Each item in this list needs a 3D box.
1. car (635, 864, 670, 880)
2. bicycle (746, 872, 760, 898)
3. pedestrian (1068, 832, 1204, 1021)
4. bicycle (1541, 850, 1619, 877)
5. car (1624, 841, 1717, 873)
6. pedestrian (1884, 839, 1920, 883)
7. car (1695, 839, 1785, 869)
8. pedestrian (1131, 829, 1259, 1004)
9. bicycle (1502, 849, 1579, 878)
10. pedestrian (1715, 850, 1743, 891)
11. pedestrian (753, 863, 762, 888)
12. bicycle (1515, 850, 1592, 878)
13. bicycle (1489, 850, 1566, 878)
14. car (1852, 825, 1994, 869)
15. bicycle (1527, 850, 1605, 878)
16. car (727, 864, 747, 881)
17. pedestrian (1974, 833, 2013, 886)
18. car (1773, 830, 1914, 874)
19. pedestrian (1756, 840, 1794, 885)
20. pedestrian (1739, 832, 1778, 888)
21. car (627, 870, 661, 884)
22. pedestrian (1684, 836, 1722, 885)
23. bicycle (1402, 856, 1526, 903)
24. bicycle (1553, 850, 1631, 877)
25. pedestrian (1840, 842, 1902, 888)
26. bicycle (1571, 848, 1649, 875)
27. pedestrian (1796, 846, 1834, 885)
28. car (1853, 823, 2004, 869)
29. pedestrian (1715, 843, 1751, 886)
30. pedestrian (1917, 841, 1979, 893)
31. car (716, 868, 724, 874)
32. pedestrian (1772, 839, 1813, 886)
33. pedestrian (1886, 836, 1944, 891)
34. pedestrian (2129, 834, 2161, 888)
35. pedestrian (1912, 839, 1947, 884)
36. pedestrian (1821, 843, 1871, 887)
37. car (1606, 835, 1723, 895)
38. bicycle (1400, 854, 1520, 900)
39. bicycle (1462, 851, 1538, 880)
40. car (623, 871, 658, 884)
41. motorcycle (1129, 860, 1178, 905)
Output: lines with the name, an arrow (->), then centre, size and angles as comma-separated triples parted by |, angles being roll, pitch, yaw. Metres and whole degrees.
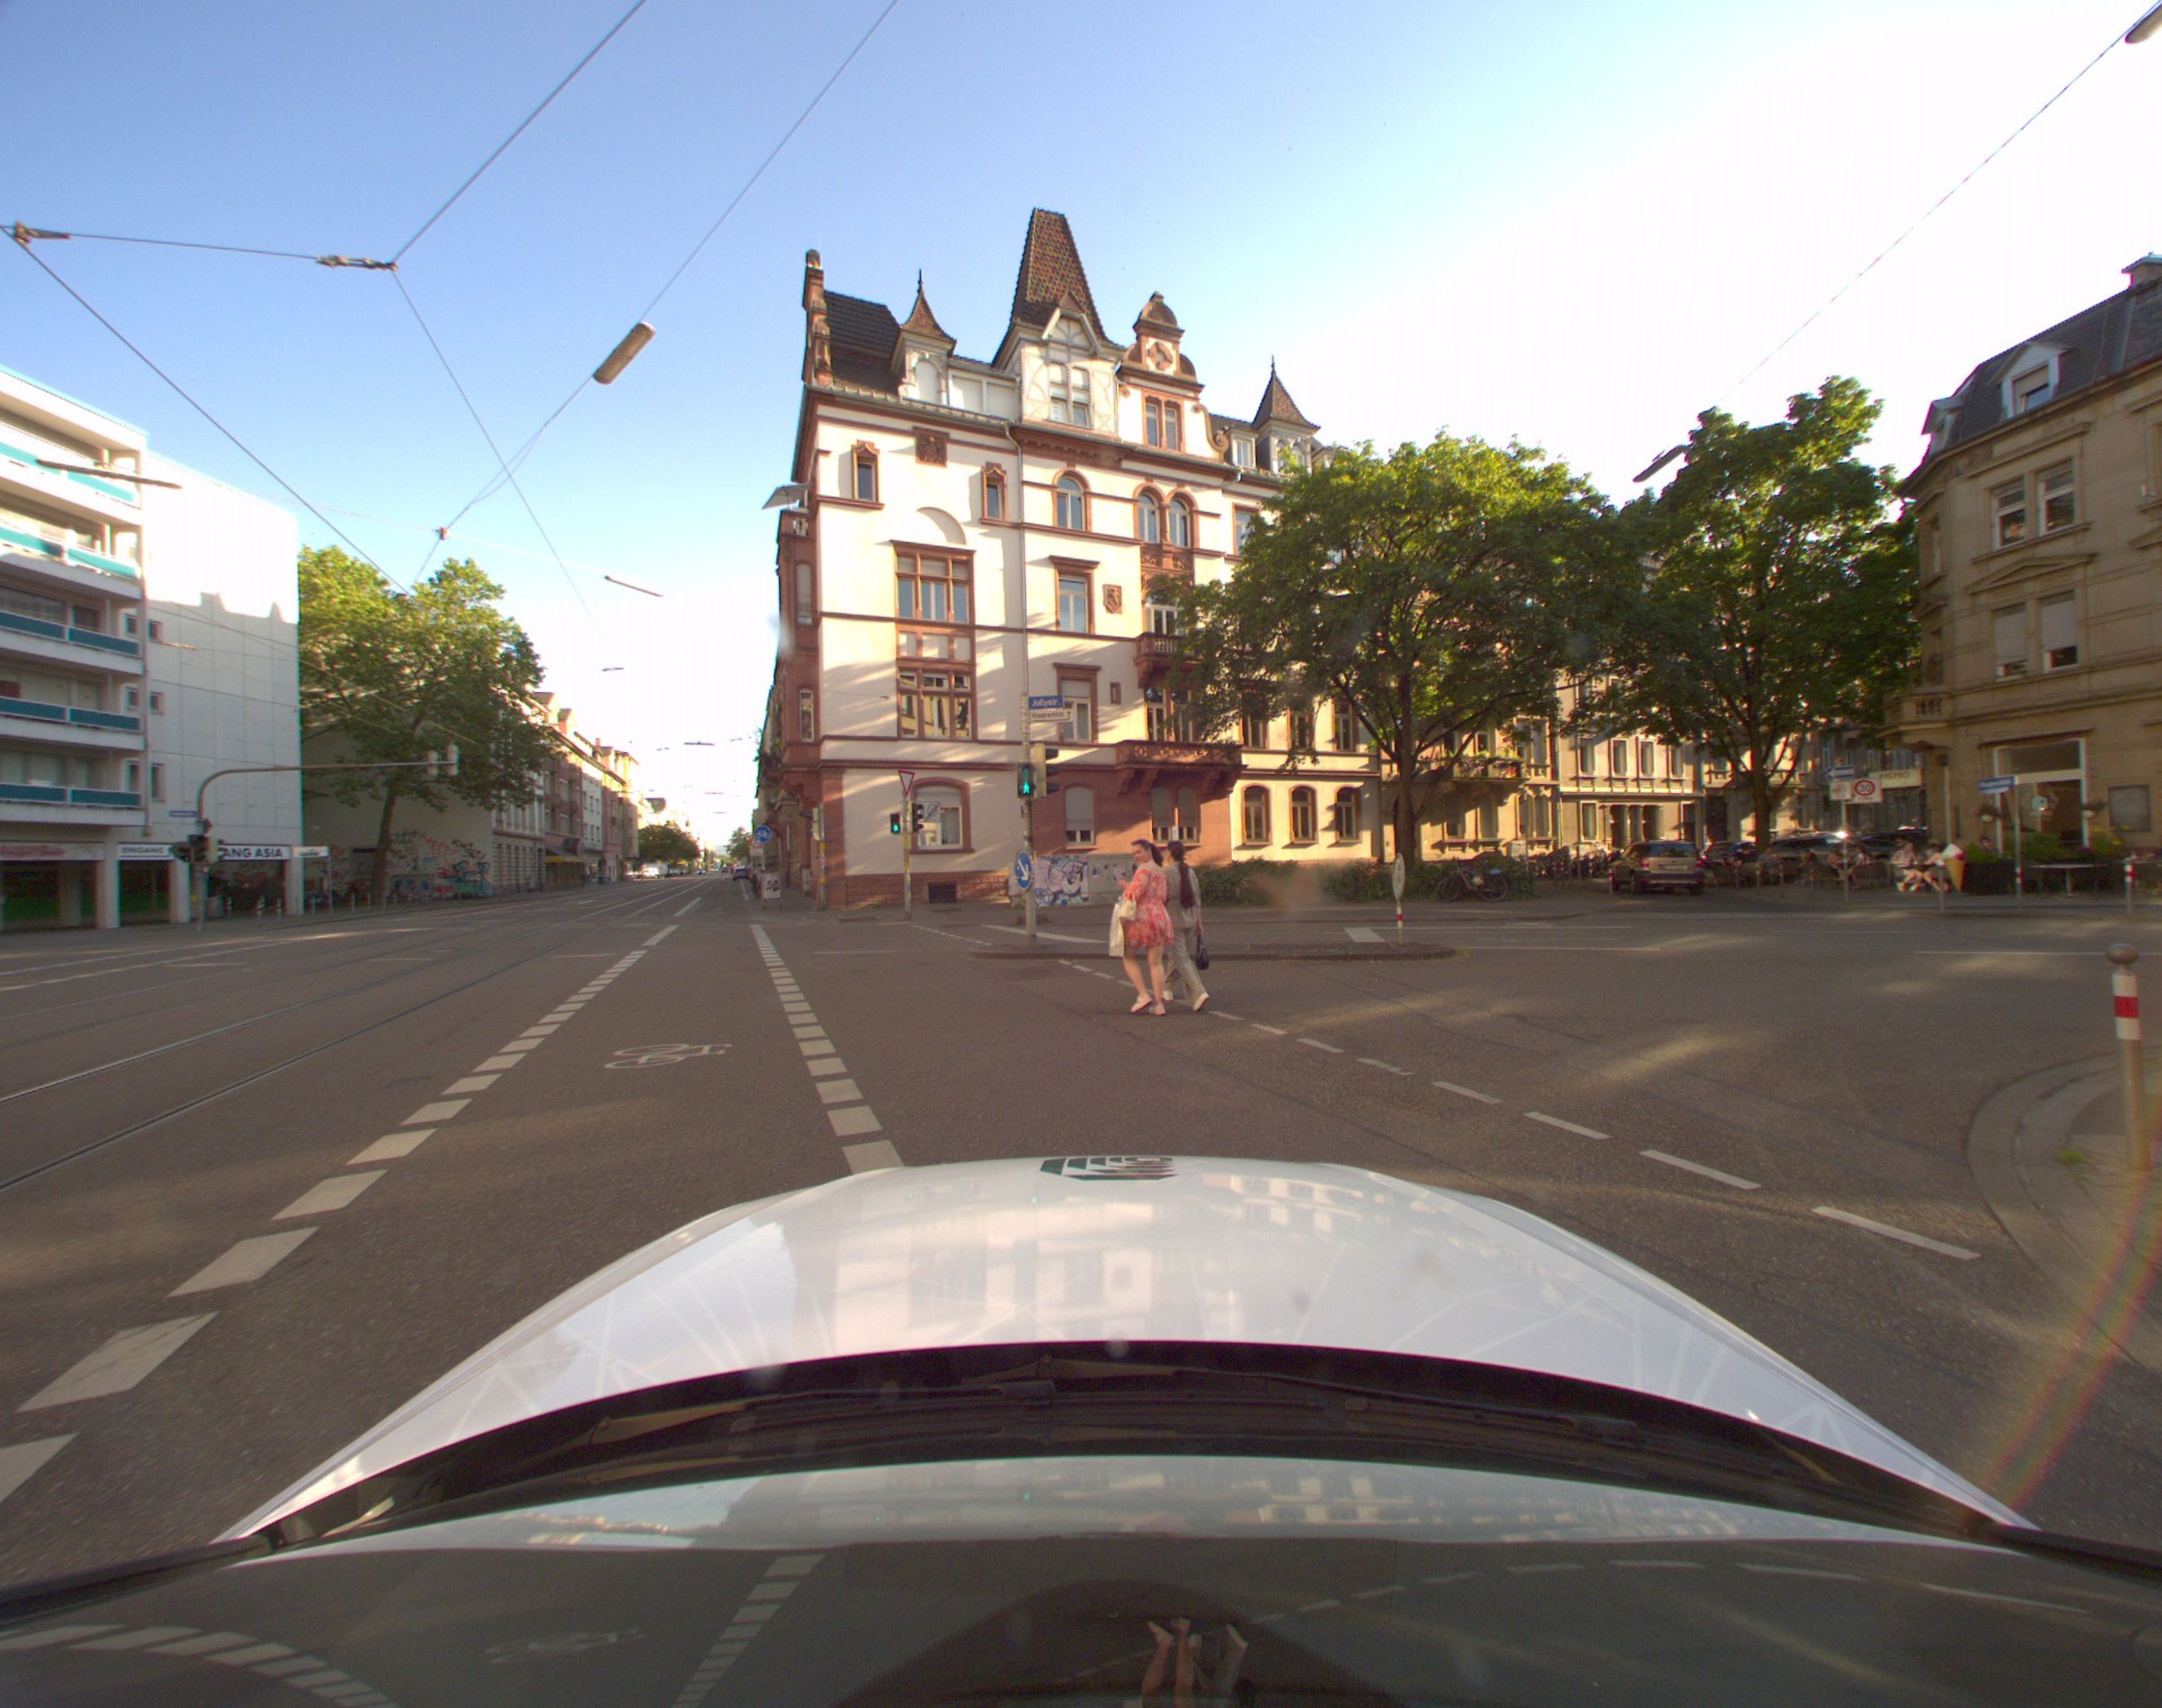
car -> -75.072, 3.188, 142.705 | 2.494, 2.685, 4.786 | -2, -1, 41
bicycle -> -15.729, 1.461, 39.039 | 0.520, 1.214, 1.992 | -1, 0, -24
pedestrian -> 0.526, 0.658, 7.996 | 0.873, 1.697, 0.974 | -1, -1, -33
bicycle -> 22.398, 0.433, 36.663 | 0.752, 1.180, 3.113 | -2, 0, -22
car -> 28.256, 0.149, 39.043 | 3.755, 1.376, 1.915 | -2, 0, -22
pedestrian -> 24.099, 0.209, 23.911 | 0.505, 1.248, 0.483 | -3, -1, 10
car -> 32.955, -0.019, 40.732 | 3.755, 1.376, 1.915 | -2, 0, -22
pedestrian -> 1.189, 0.608, 8.585 | 0.873, 1.697, 0.974 | -1, -1, -33
bicycle -> 20.095, 0.437, 35.714 | 0.752, 1.180, 3.113 | -2, 0, -22
pedestrian -> 21.517, 0.548, 27.048 | 0.565, 1.320, 0.508 | -3, -1, 22
pedestrian -> -23.751, 1.561, 59.796 | 0.493, 1.811, 0.623 | -1, -1, -18
bicycle -> 20.858, 0.436, 36.049 | 0.752, 1.180, 3.113 | -2, 0, -22
bicycle -> 19.362, 0.441, 35.416 | 0.752, 1.180, 3.113 | -2, 0, -22
car -> 35.191, -0.262, 34.227 | 3.949, 1.684, 2.012 | -2, -1, 41
bicycle -> 21.600, 0.435, 36.380 | 0.752, 1.180, 3.113 | -2, 0, -22
car -> -42.984, 2.335, 101.896 | 2.000, 2.013, 3.973 | -2, 0, -20
pedestrian -> 24.168, 0.134, 21.578 | 0.430, 1.367, 0.482 | -3, -1, 4
car -> 29.542, -0.057, 31.730 | 3.786, 1.562, 1.815 | -2, -1, 37
pedestrian -> 23.051, 0.280, 27.061 | 0.757, 1.442, 0.672 | -3, -2, 24
pedestrian -> 21.827, 0.203, 26.242 | 0.757, 1.770, 0.575 | -3, -2, 24
car -> -73.418, 3.859, 136.865 | 4.759, 2.014, 2.508 | -2, 0, -22
pedestrian -> 21.954, 0.237, 28.761 | 0.760, 1.670, 0.670 | -2, -2, 10
bicycle -> 10.297, 0.695, 22.001 | 2.926, 1.196, 0.550 | -2, -1, 16
bicycle -> 23.174, 0.433, 37.002 | 0.752, 1.180, 3.113 | -2, 0, -22
pedestrian -> 22.172, 0.307, 22.874 | 0.742, 1.248, 1.027 | -3, -1, 9
bicycle -> 24.243, 0.343, 37.407 | 0.752, 1.180, 3.113 | -2, 0, -22
pedestrian -> 23.623, 0.359, 26.216 | 0.669, 1.216, 0.671 | -3, -2, 22
car -> 33.395, -0.288, 32.168 | 2.010, 1.684, 3.954 | -1, -1, -39
pedestrian -> 22.181, 0.372, 27.722 | 0.757, 1.412, 0.672 | -3, -2, 26
pedestrian -> 22.101, 0.333, 20.772 | 0.737, 1.289, 0.746 | -2, -1, 2
car -> -102.518, 4.744, 231.304 | 2.003, 1.692, 3.966 | -2, 0, -25
pedestrian -> 22.753, 0.274, 26.065 | 0.757, 1.442, 0.672 | -3, -2, 24
pedestrian -> 22.120, 0.245, 21.610 | 0.723, 1.411, 0.757 | -2, -1, 0
pedestrian -> 24.970, 0.151, 18.756 | 0.753, 1.214, 0.726 | -2, -1, -7
pedestrian -> 23.911, 0.206, 22.946 | 0.430, 1.248, 0.483 | -3, -1, 10
pedestrian -> 22.318, 0.315, 23.775 | 0.742, 1.248, 0.708 | -3, -1, 10
car -> 18.004, 0.325, 25.367 | 1.976, 1.684, 4.021 | -2, 0, 21
bicycle -> 10.460, 0.633, 22.576 | 2.926, 1.196, 0.550 | -2, -1, 16
bicycle -> 17.801, 0.486, 34.751 | 0.752, 1.180, 3.113 | -2, 0, -22
car -> -72.428, 3.830, 134.114 | 4.759, 2.014, 2.274 | -2, 0, -22
motorcycle -> 2.154, 0.841, 24.535 | 0.841, 1.265, 2.101 | -2, 0, -12
